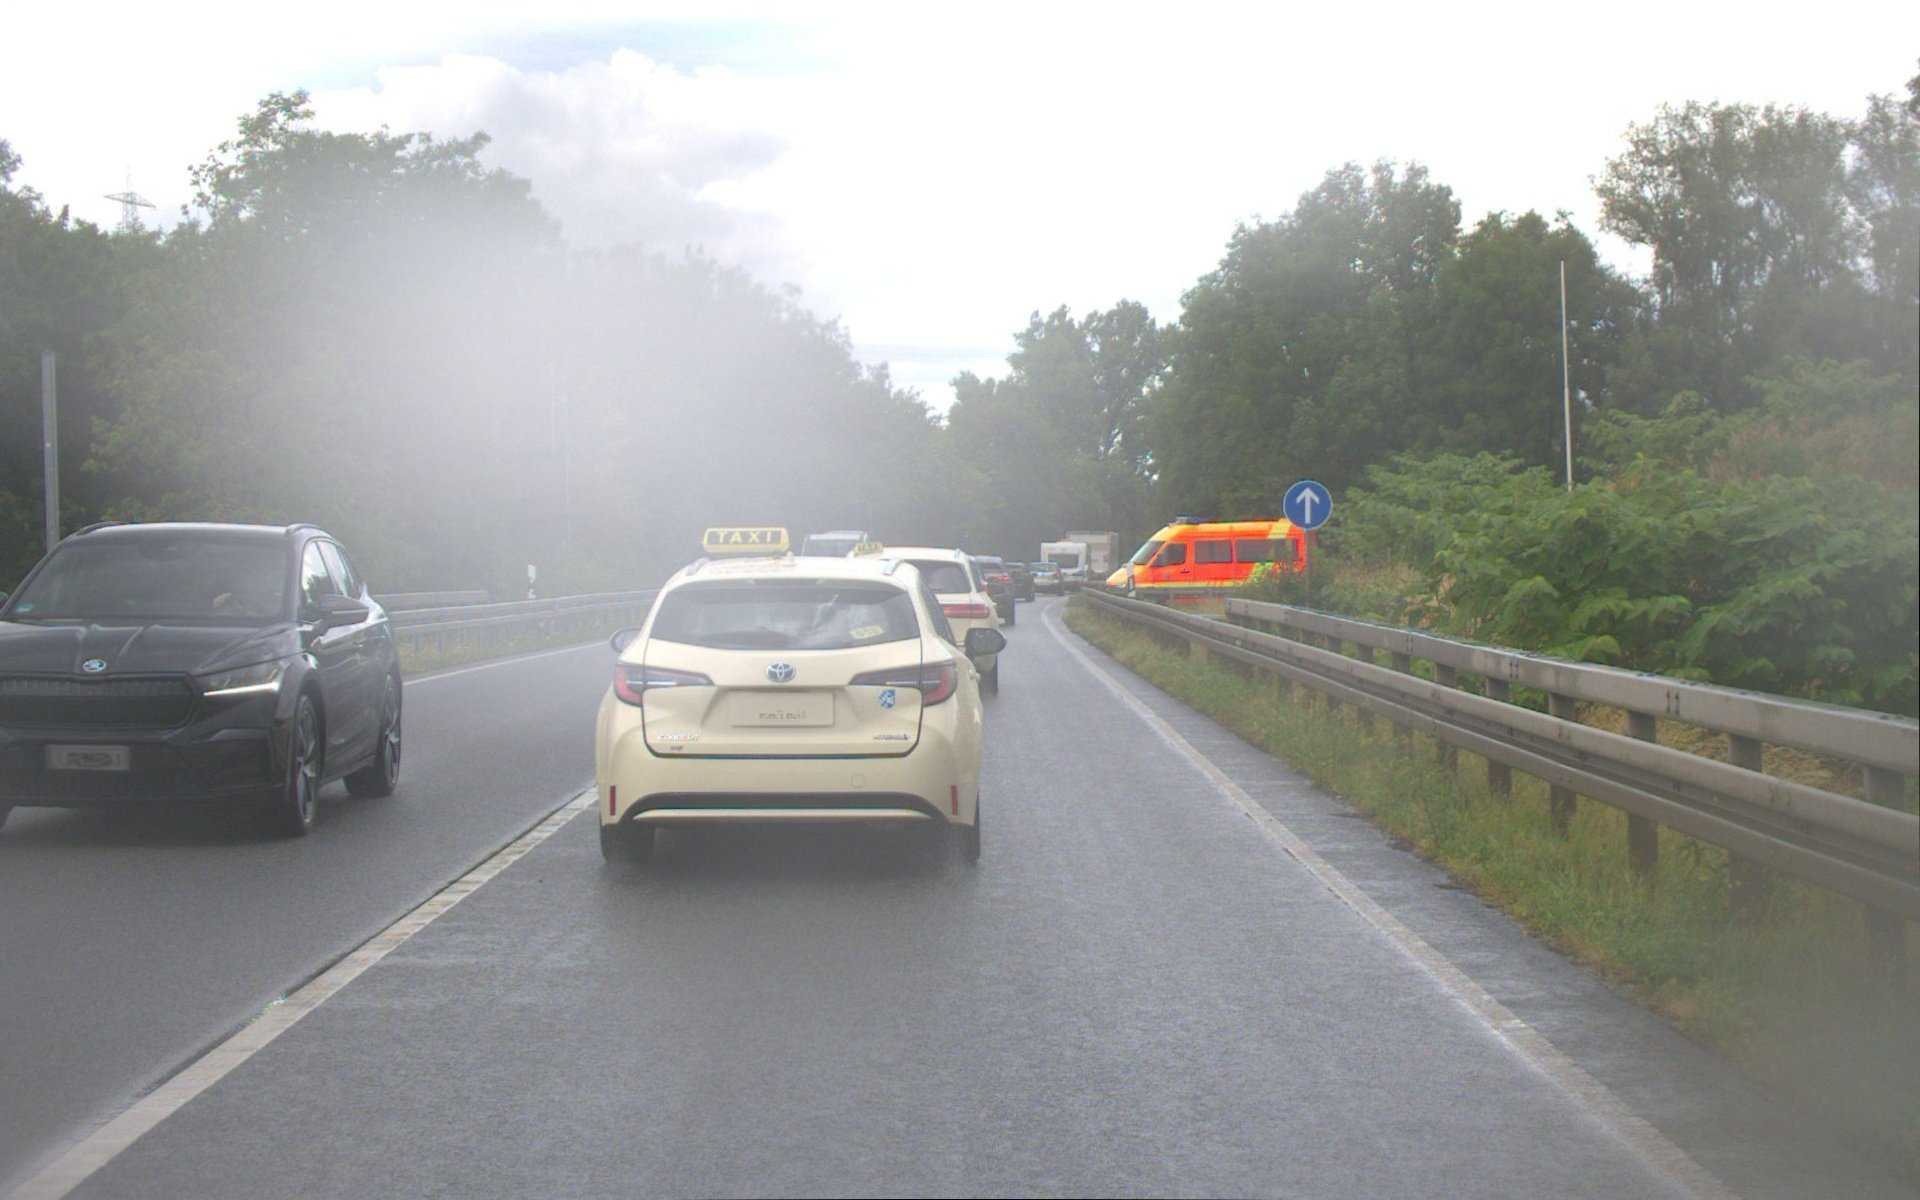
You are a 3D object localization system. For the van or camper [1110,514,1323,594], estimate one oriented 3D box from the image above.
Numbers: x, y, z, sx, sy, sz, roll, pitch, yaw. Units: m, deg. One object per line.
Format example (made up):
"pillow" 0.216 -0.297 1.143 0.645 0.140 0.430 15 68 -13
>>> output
"van or camper" 7.298 -1.309 97.987 5.676 2.234 2.021 0 1 -15

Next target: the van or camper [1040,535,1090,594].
"van or camper" 5.286 -1.812 173.222 2.332 2.854 6.307 0 1 0

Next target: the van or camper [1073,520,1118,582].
"van or camper" 7.850 -2.870 199.584 2.332 3.550 6.307 0 1 0

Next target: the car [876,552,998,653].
"car" -0.386 0.005 54.561 1.854 1.438 4.171 0 2 -1

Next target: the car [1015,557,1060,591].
"car" 3.414 -1.152 151.482 1.854 1.438 4.171 1 1 3

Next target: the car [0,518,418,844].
"car" -4.145 0.341 18.754 1.779 1.556 4.302 0 1 -1

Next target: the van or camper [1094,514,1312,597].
"van or camper" 6.740 -1.241 95.621 5.676 2.234 2.021 0 1 -15

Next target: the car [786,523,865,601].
"car" -3.775 -1.092 97.080 1.993 2.121 4.895 0 1 0

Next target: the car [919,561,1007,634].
"car" 0.037 -0.084 75.212 1.854 1.438 4.171 0 2 -1

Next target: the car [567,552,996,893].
"car" -0.813 0.506 17.026 1.854 1.389 4.171 0 2 -1

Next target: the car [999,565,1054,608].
"car" 2.418 -0.497 124.039 1.854 1.438 4.171 1 1 3

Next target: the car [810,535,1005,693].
"car" -0.541 0.097 35.092 1.854 1.438 4.171 0 2 -1
